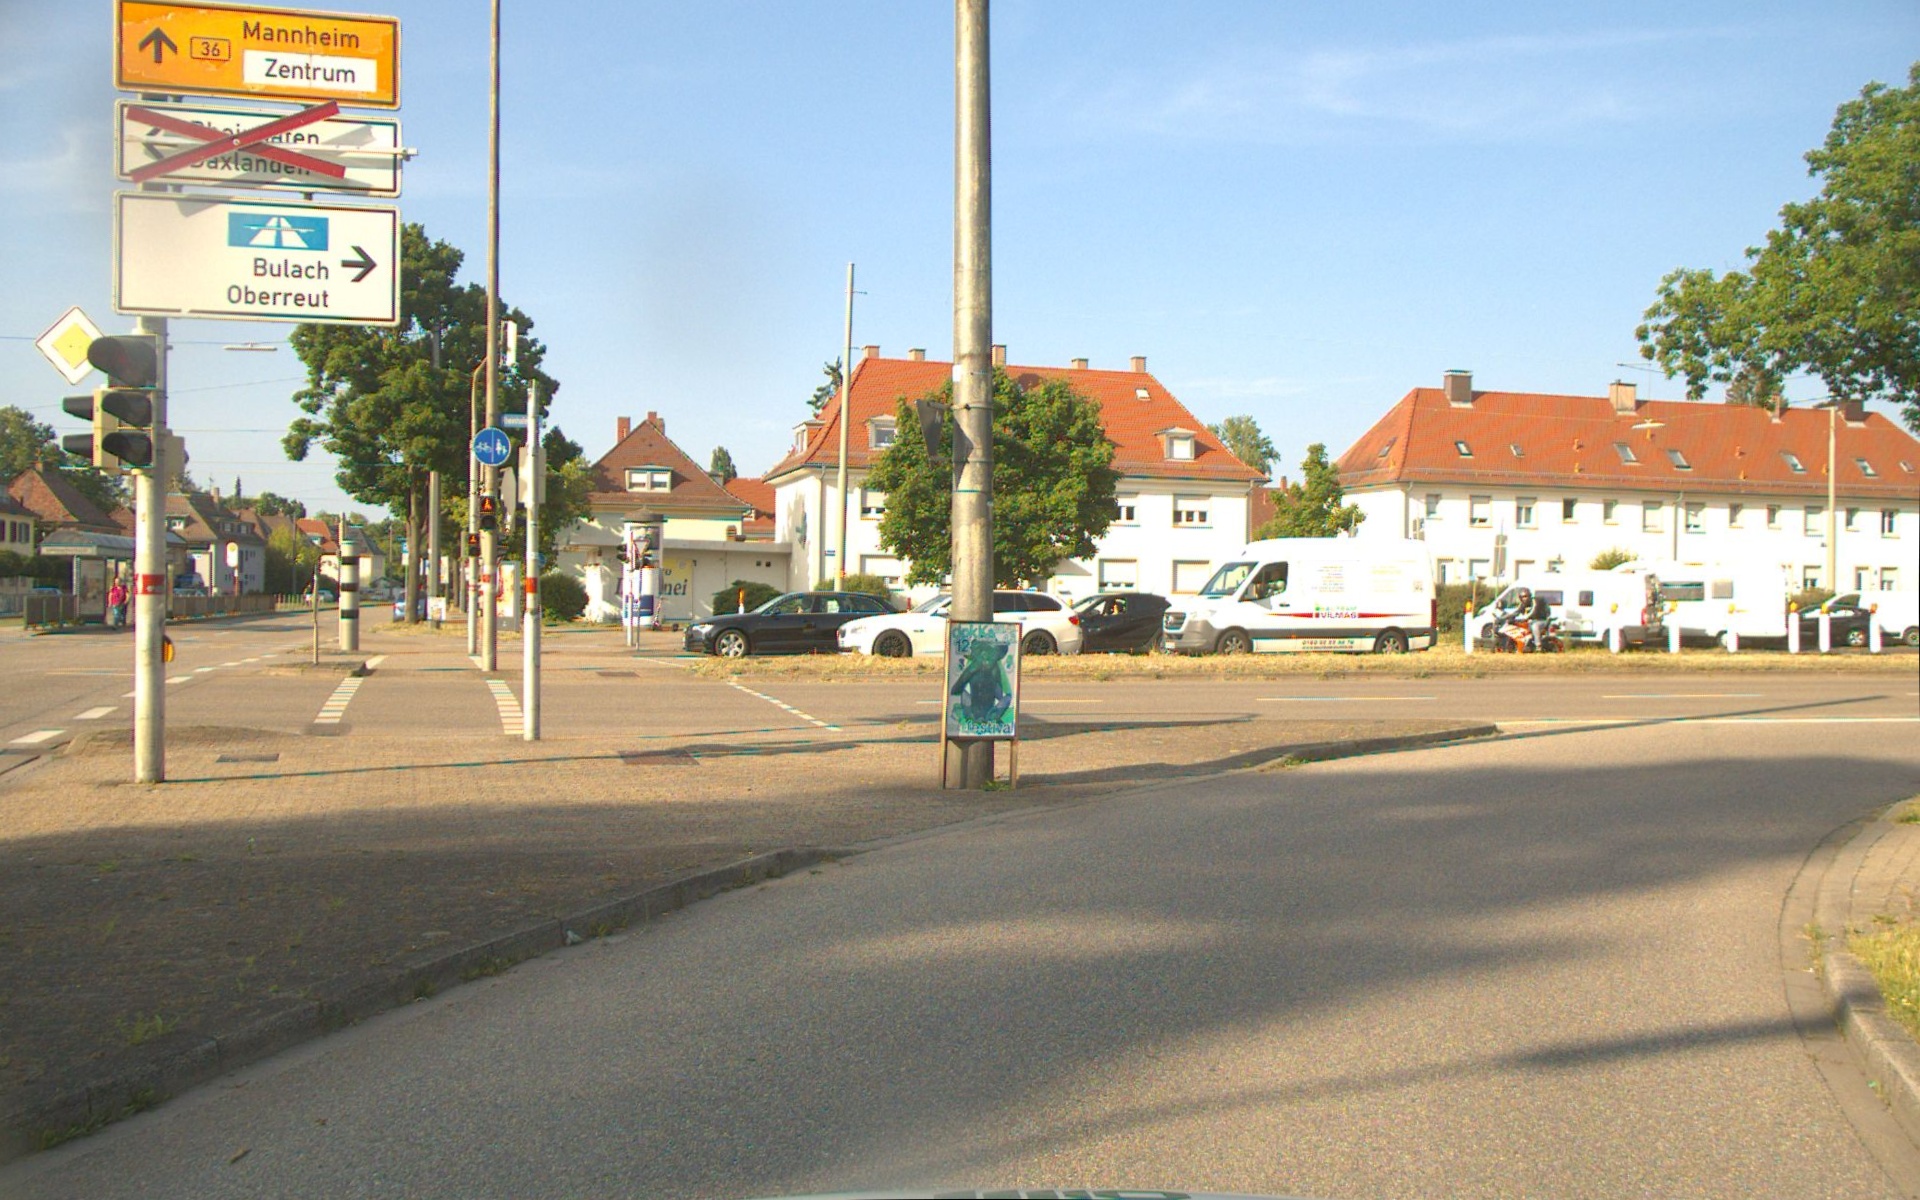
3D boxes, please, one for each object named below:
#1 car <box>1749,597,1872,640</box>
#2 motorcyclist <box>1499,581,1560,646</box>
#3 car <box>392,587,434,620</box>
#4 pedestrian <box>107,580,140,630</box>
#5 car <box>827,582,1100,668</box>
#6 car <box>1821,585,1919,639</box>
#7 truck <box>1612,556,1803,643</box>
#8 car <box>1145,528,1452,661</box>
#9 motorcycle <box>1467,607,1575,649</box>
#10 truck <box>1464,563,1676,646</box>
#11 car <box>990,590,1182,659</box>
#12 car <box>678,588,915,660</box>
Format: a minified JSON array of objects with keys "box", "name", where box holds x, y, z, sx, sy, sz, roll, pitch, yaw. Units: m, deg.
[{"box":[30.862,0.650,60.127,3.818,1.481,1.895,0,0,23],"name":"car"},{"box":[12.190,0.289,35.400,1.049,1.375,0.676,1,0,-19],"name":"motorcyclist"},{"box":[-24.641,0.173,74.605,1.648,1.422,3.981,2,-1,-17],"name":"car"},{"box":[-26.623,0.163,52.641,0.740,1.525,0.823,2,-1,-15],"name":"pedestrian"},{"box":[0.054,0.481,32.208,5.014,1.590,1.831,0,0,-17],"name":"car"},{"box":[34.000,0.426,61.149,3.820,1.953,1.894,0,0,27],"name":"car"},{"box":[25.870,-0.019,57.349,5.940,2.904,1.894,0,0,26],"name":"truck"},{"box":[7.070,-0.089,34.573,6.111,2.629,1.990,1,0,-18],"name":"car"},{"box":[11.992,0.599,35.336,2.236,0.882,0.687,1,0,-19],"name":"motorcycle"},{"box":[20.220,0.112,54.986,6.234,2.568,2.268,1,1,38],"name":"truck"},{"box":[2.798,0.539,36.796,3.924,1.478,1.708,0,0,-17],"name":"car"},{"box":[-3.457,0.498,34.830,4.747,1.436,1.707,0,0,-17],"name":"car"}]
